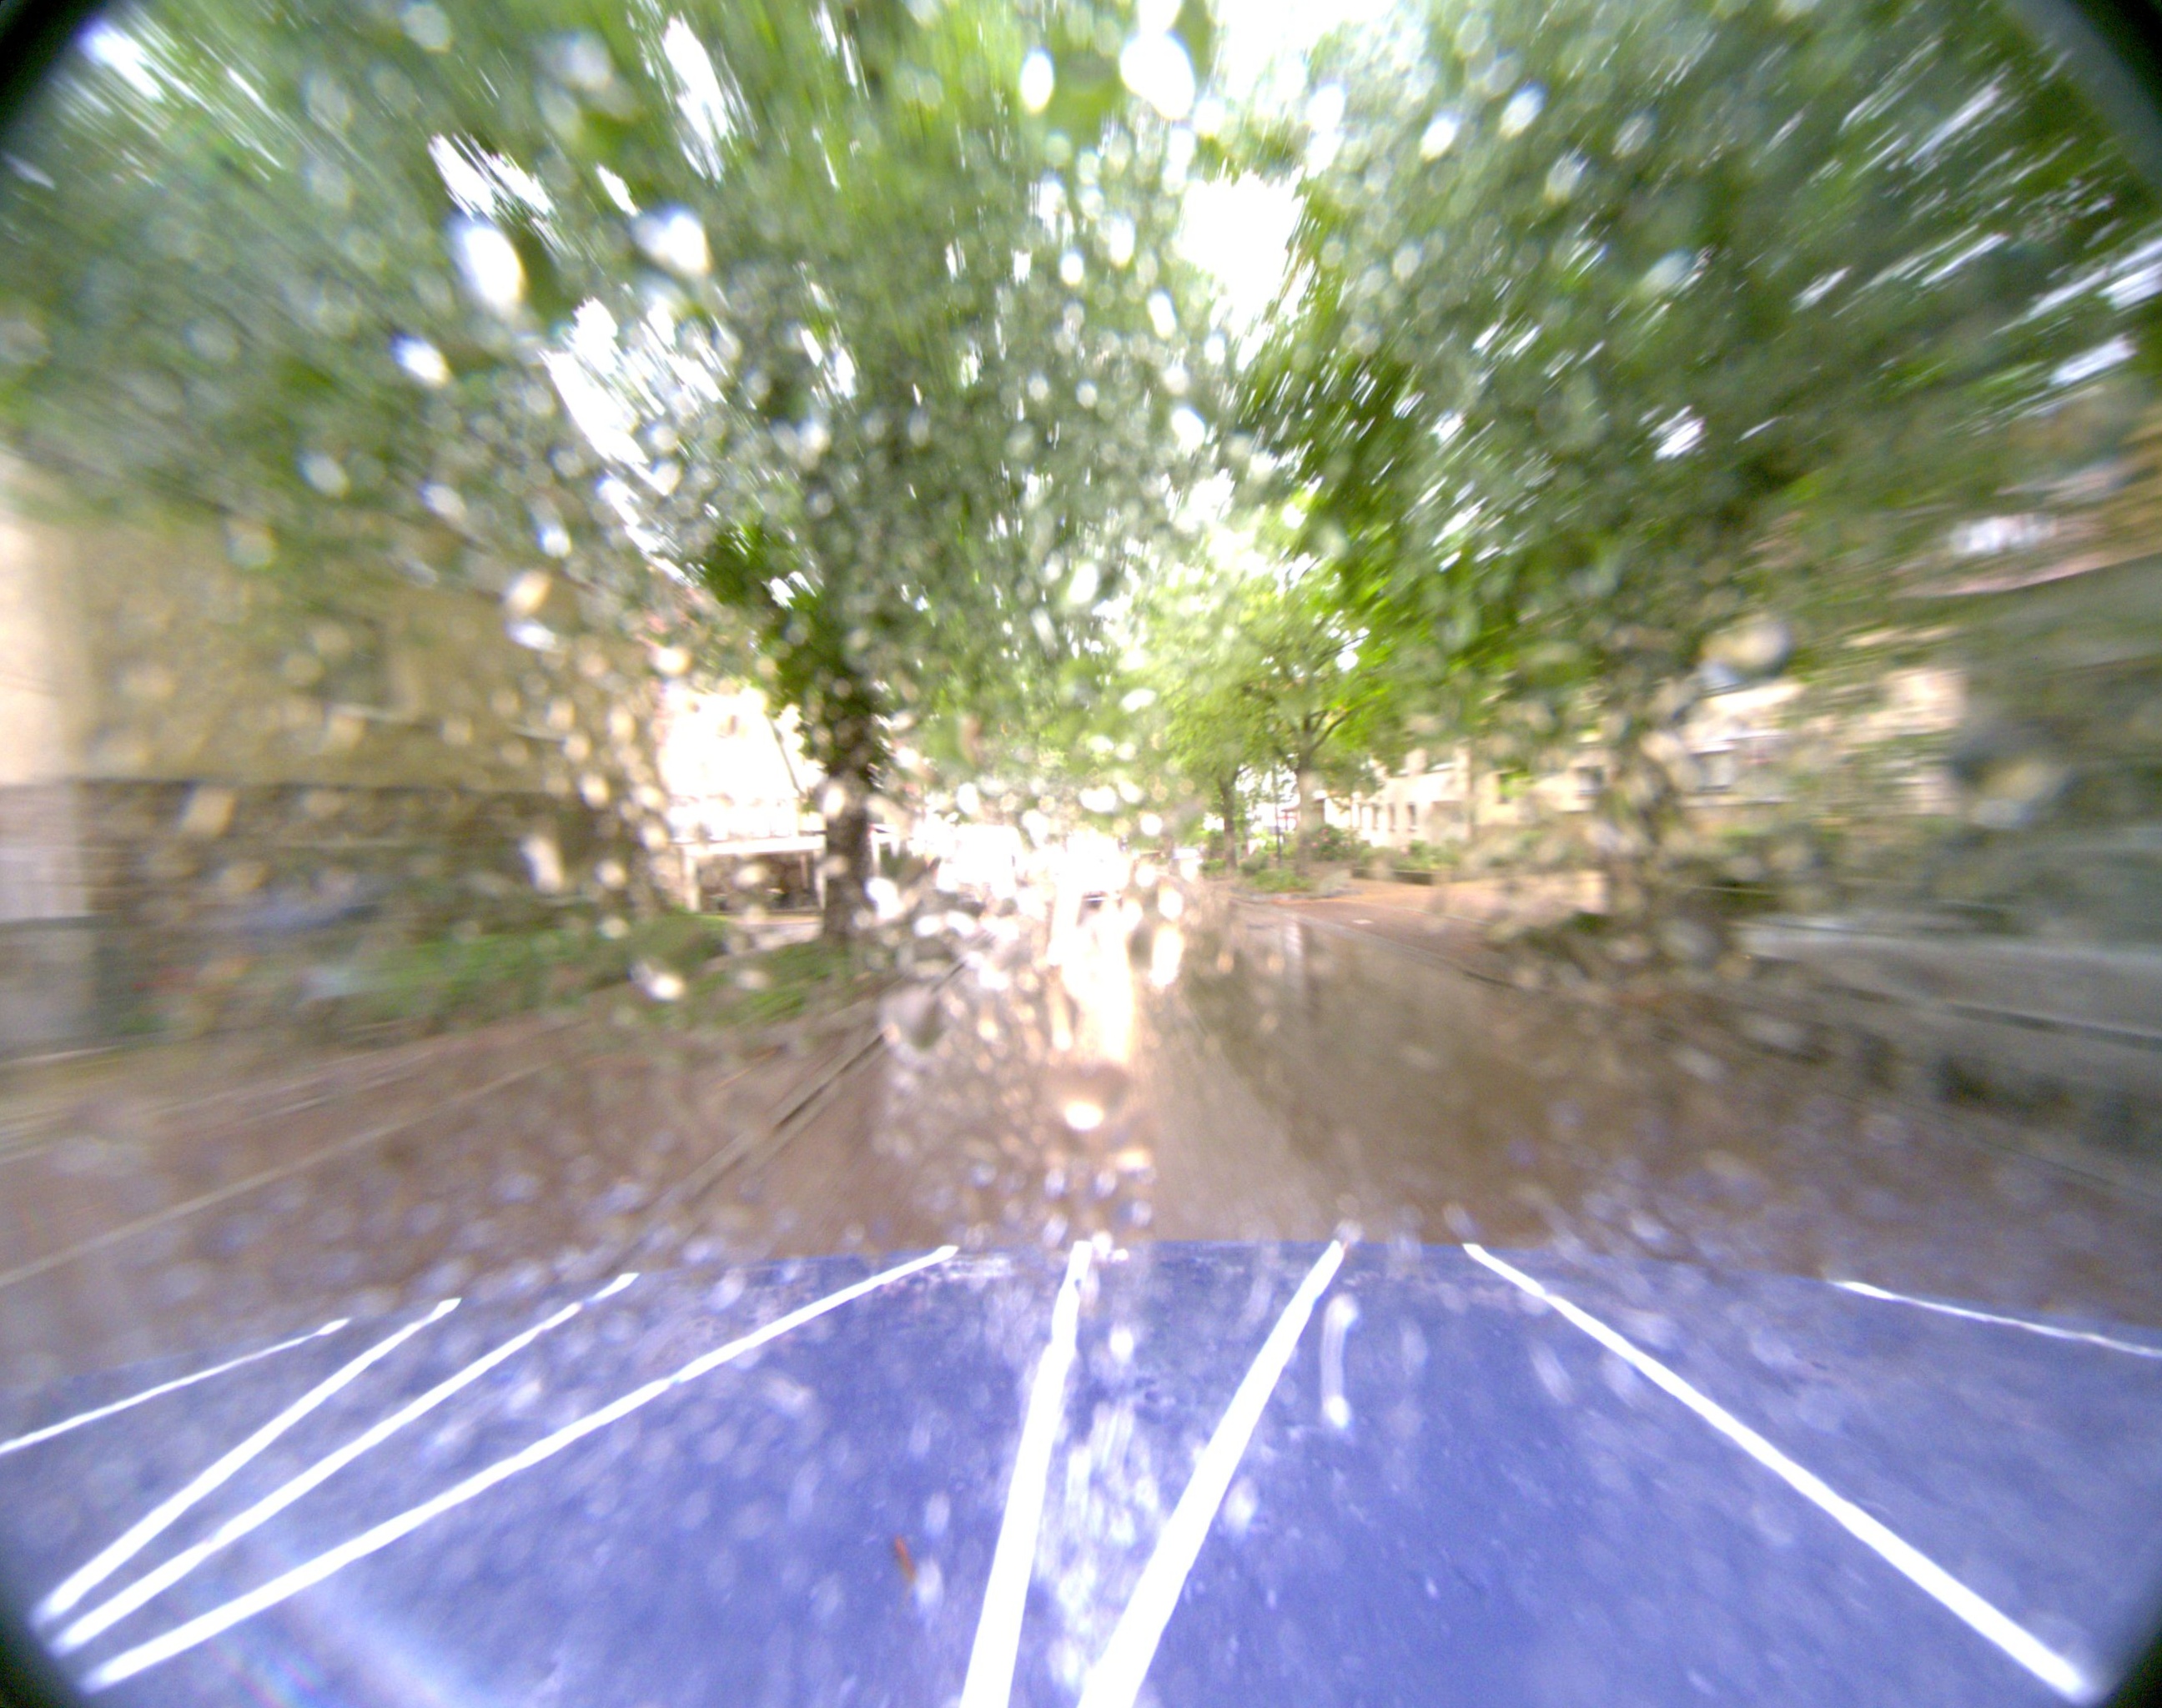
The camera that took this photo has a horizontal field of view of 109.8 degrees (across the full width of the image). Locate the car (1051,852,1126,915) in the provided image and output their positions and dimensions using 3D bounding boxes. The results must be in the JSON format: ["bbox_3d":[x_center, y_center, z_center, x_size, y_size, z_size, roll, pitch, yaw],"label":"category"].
[{"bbox_3d":[0.290,0.751,21.380,1.828,1.451,3.875,-4,0,3],"label":"car"}]

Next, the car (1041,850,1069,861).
[{"bbox_3d":[-4.064,0.224,120.250,4.270,1.451,1.829,-4,0,-1],"label":"car"}]

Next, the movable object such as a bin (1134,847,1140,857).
[{"bbox_3d":[6.294,-0.262,85.427,0.618,1.053,0.568,-6,1,0],"label":"movable object such as a bin"}]

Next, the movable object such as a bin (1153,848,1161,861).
[{"bbox_3d":[6.448,0.030,64.412,0.665,1.068,0.596,-3,2,5],"label":"movable object such as a bin"}]

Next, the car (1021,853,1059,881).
[{"bbox_3d":[-2.259,0.699,43.042,1.813,1.403,3.783,-4,0,1],"label":"car"}]

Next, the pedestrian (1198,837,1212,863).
[{"bbox_3d":[7.815,-0.249,48.015,0.651,1.585,0.932,-4,1,1],"label":"pedestrian"}]

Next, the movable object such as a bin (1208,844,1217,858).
[{"bbox_3d":[11.118,-0.254,64.316,0.664,1.126,0.659,-4,1,3],"label":"movable object such as a bin"}]

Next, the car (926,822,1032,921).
[{"bbox_3d":[-2.818,0.427,22.439,2.146,2.446,5.434,-4,1,1],"label":"car"}]

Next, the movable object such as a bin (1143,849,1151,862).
[{"bbox_3d":[5.617,0.086,64.462,0.665,1.061,0.596,-3,2,5],"label":"movable object such as a bin"}]

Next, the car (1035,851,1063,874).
[{"bbox_3d":[-2.182,0.564,52.412,1.685,1.391,3.794,-3,1,0],"label":"car"}]

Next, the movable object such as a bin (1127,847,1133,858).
[{"bbox_3d":[5.489,-0.168,85.421,0.585,1.071,0.570,-6,1,-1],"label":"movable object such as a bin"}]

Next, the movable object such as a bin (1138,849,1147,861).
[{"bbox_3d":[5.282,0.084,65.224,0.665,1.068,0.596,-3,2,5],"label":"movable object such as a bin"}]

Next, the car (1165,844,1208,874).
[{"bbox_3d":[5.513,0.231,40.118,1.754,1.388,3.795,-4,1,2],"label":"car"}]

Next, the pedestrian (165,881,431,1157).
[{"bbox_3d":[-5.231,1.044,5.127,0.955,1.642,0.794,-2,2,14],"label":"pedestrian"}]

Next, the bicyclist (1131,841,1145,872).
[{"bbox_3d":[3.338,0.143,44.573,0.629,1.721,0.880,-4,1,1],"label":"bicyclist"}]

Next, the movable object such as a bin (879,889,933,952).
[{"bbox_3d":[-3.307,1.253,14.444,0.750,1.069,0.879,-4,1,1],"label":"movable object such as a bin"}]

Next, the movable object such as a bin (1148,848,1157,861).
[{"bbox_3d":[6.116,0.036,65.125,0.665,1.068,0.596,-3,2,5],"label":"movable object such as a bin"}]

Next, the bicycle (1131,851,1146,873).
[{"bbox_3d":[3.352,0.468,44.449,0.629,1.202,1.981,-4,1,1],"label":"bicycle"}]

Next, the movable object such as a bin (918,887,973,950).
[{"bbox_3d":[-2.546,1.203,14.402,0.799,1.069,0.879,-4,1,1],"label":"movable object such as a bin"}]

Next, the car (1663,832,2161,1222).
[{"bbox_3d":[5.028,0.660,3.153,1.776,1.381,4.545,-5,0,2],"label":"car"}]
